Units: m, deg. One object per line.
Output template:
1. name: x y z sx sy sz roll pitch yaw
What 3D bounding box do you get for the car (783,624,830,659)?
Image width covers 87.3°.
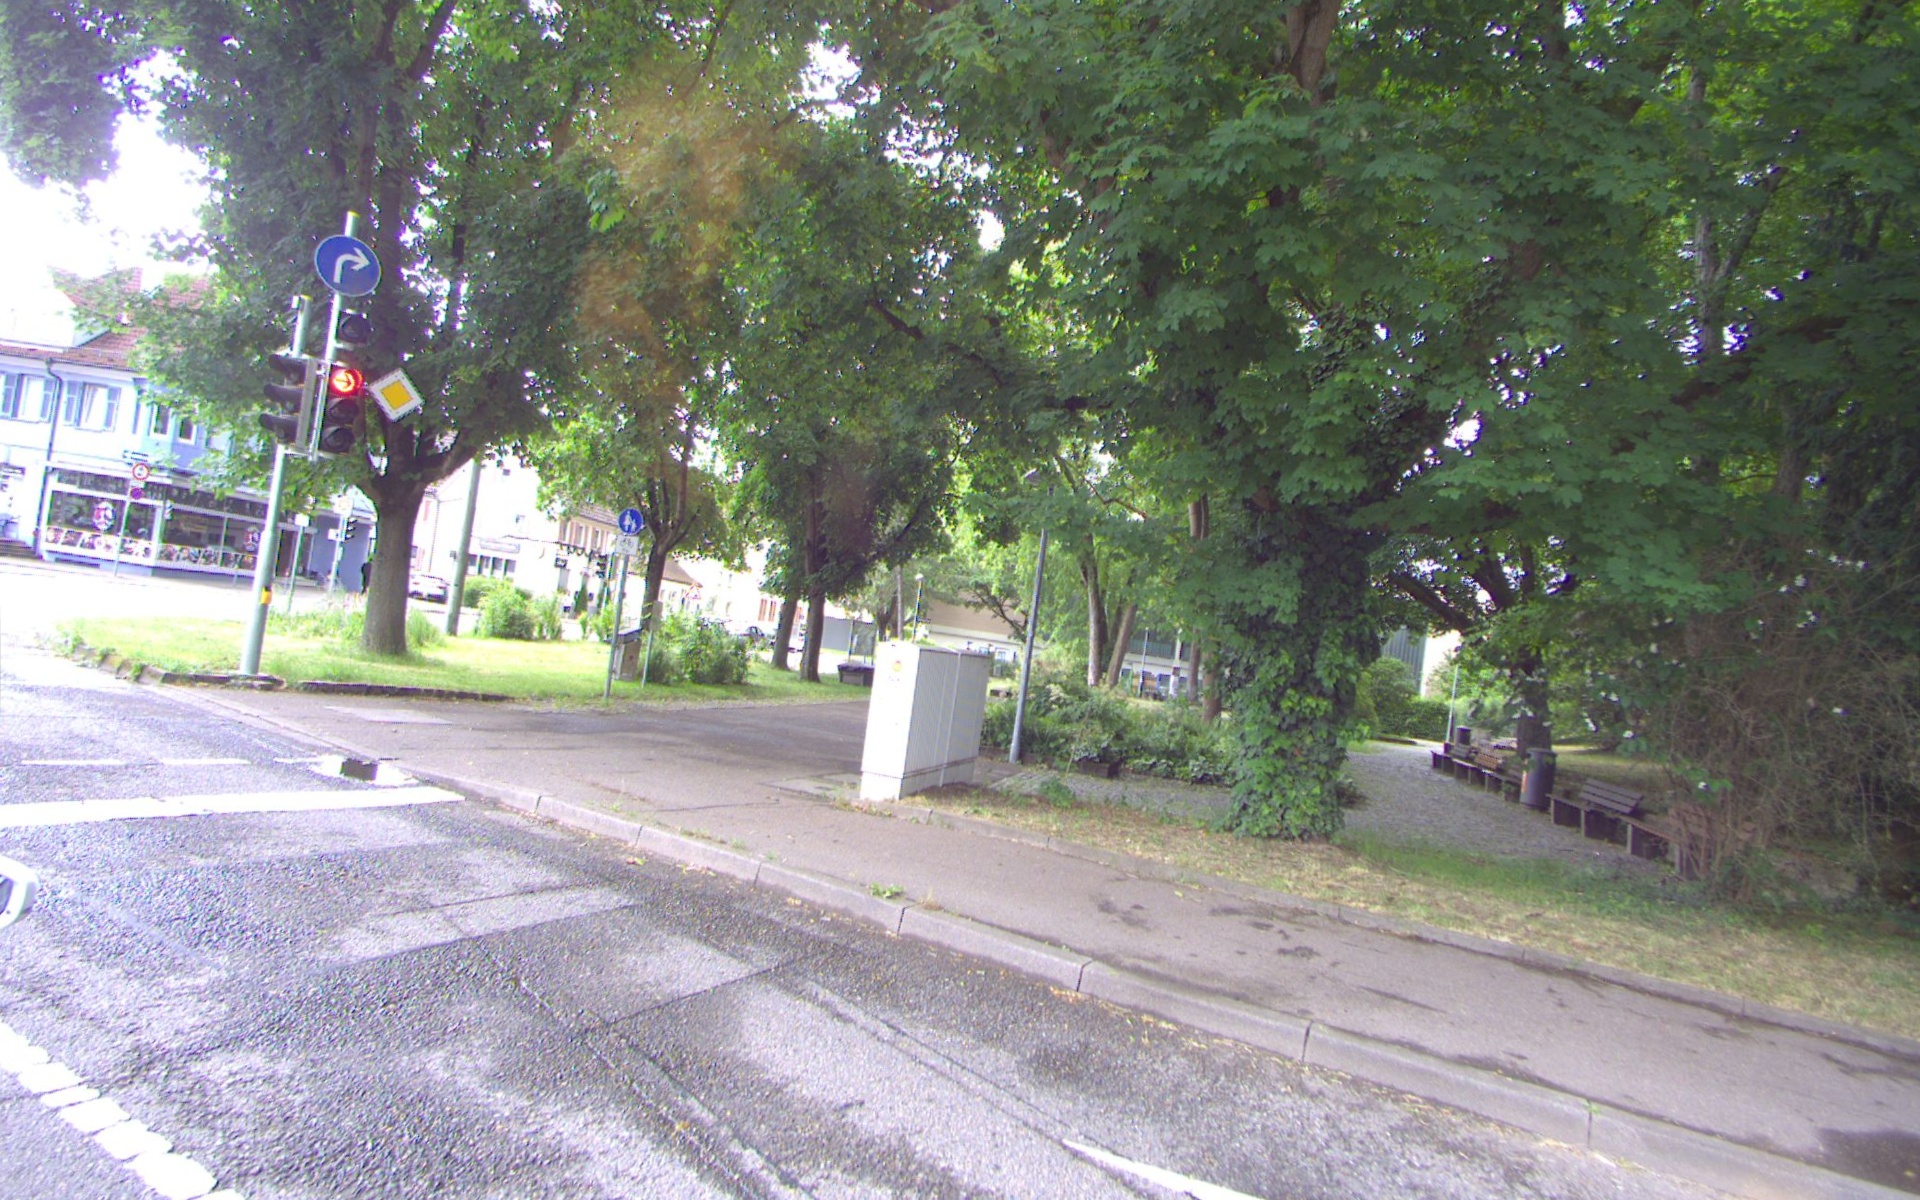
1. car: -10.060 2.756 66.177 1.750 2.037 4.005 7 -2 7

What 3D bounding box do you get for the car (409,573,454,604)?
1. car: -27.875 -0.604 53.147 1.479 1.384 3.166 8 -2 -19

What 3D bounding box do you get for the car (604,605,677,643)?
1. car: -14.014 1.088 44.359 1.530 1.336 3.514 7 -2 9

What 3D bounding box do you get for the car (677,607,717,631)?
1. car: -19.374 1.440 74.251 1.528 1.436 4.005 7 -2 4

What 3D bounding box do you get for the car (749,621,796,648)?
1. car: -11.171 2.068 60.108 1.530 1.336 3.514 7 -2 8

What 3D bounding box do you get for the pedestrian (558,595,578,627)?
1. pedestrian: -21.846 0.628 56.068 0.600 1.668 0.610 7 -1 4

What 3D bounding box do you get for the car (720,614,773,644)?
1. car: -11.573 1.594 54.823 1.530 1.336 3.514 7 -2 9

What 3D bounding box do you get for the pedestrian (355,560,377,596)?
1. pedestrian: -27.167 -1.016 46.006 0.576 1.535 0.460 7 -1 11
